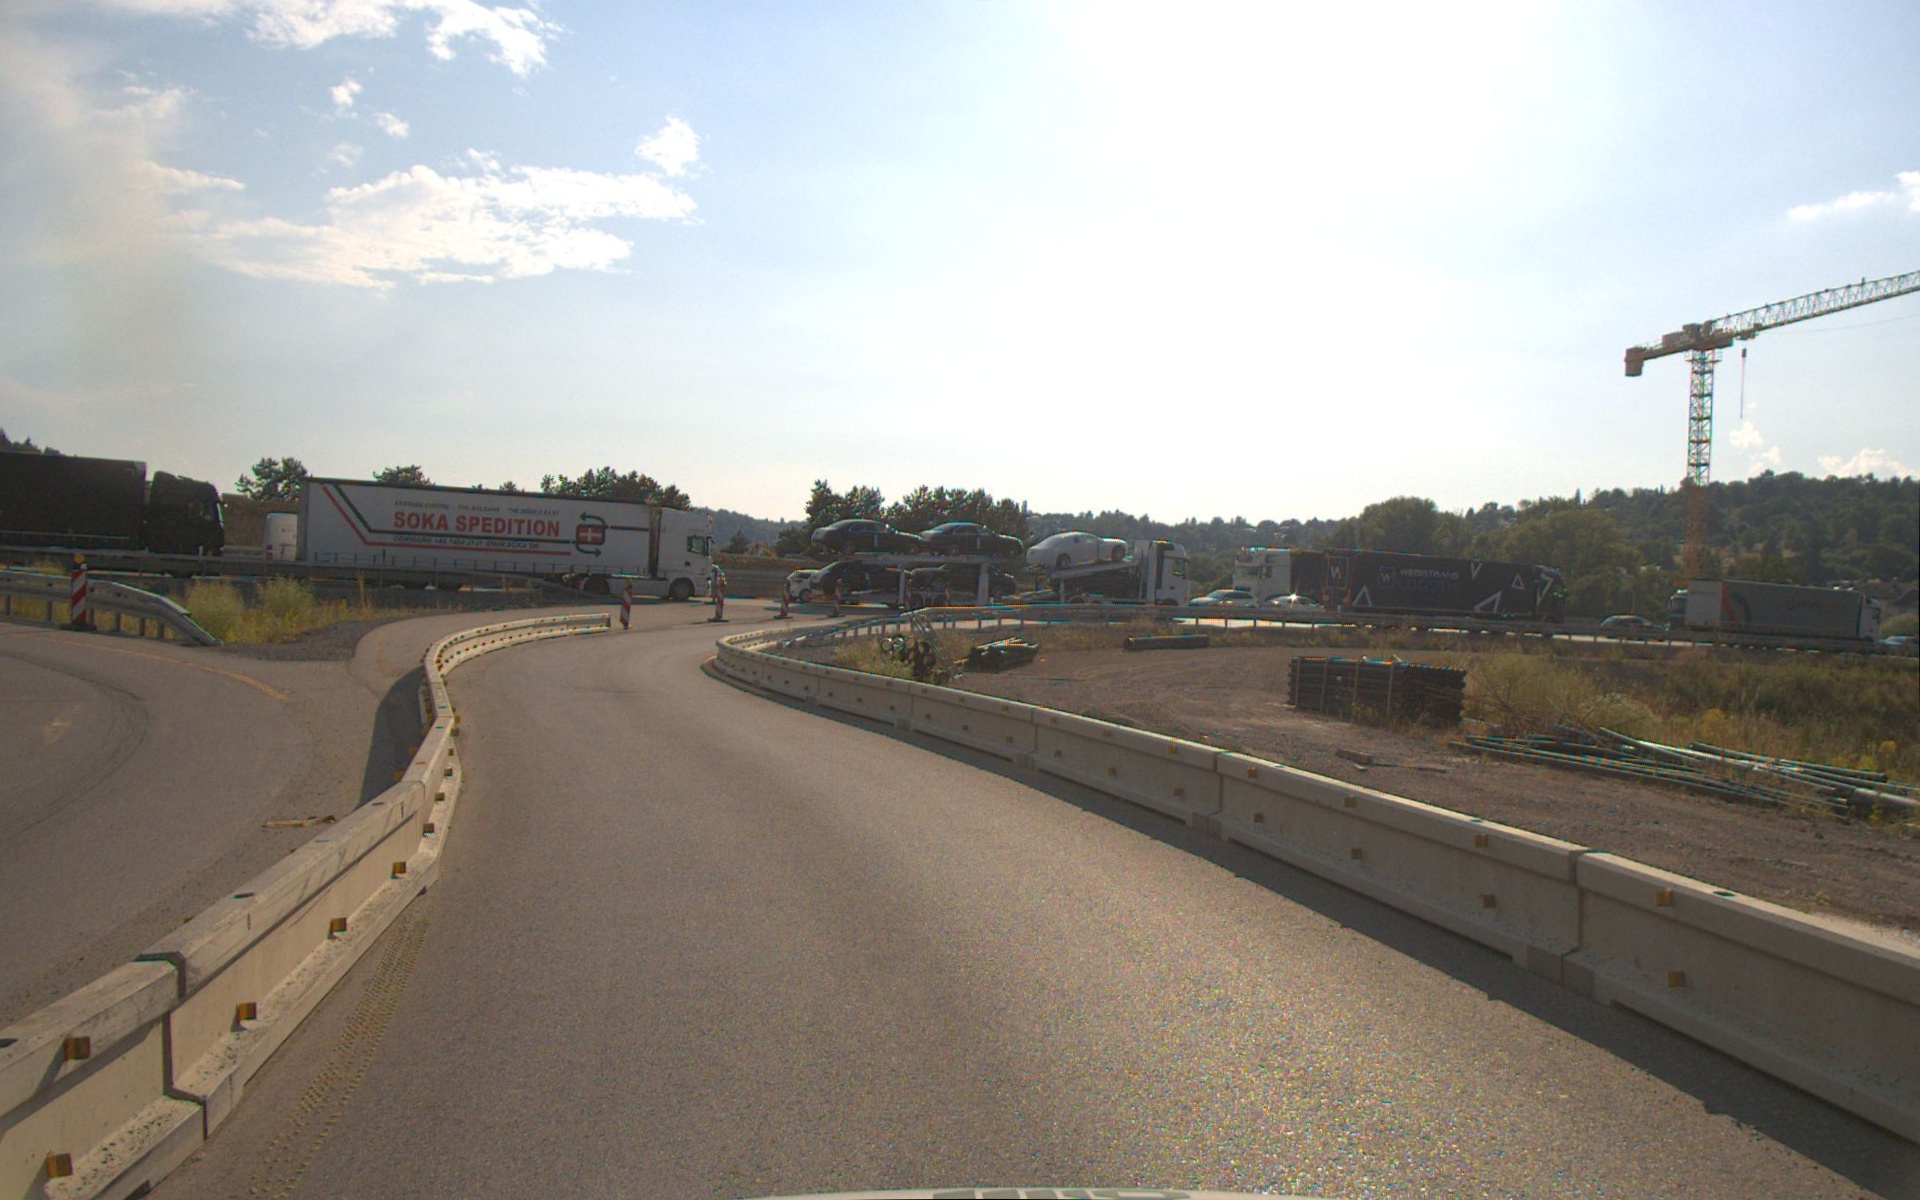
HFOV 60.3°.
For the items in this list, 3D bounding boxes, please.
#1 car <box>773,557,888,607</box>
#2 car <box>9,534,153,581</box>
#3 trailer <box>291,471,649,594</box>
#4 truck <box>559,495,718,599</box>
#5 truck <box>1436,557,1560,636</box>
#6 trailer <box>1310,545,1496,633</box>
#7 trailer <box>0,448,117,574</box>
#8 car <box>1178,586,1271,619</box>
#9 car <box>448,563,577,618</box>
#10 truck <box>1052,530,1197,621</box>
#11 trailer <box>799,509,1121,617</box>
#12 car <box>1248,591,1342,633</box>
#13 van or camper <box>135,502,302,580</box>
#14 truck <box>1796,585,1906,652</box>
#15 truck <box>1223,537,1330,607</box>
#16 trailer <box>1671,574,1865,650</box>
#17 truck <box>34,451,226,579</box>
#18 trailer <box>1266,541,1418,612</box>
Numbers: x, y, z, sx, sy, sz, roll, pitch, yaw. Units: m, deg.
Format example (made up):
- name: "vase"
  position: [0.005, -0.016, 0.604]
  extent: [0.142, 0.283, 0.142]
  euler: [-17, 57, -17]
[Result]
- name: "car"
  position: [-6.073, -0.841, 77.757]
  extent: [4.906, 2.015, 2.018]
  euler: [3, 2, -28]
- name: "car"
  position: [-34.751, -1.688, 65.513]
  extent: [4.906, 1.526, 2.018]
  euler: [3, 2, -28]
- name: "trailer"
  position: [-19.400, -2.590, 66.276]
  extent: [13.438, 3.945, 2.465]
  euler: [3, 0, -30]
- name: "truck"
  position: [-13.528, -2.214, 69.662]
  extent: [5.926, 3.945, 2.465]
  euler: [3, 0, -30]
- name: "truck"
  position: [30.609, -0.175, 94.101]
  extent: [6.526, 4.066, 2.869]
  euler: [3, 0, -28]
- name: "trailer"
  position: [24.381, -0.564, 90.759]
  extent: [10.634, 4.163, 2.942]
  euler: [3, -1, -28]
- name: "trailer"
  position: [-36.421, -3.377, 56.421]
  extent: [13.439, 4.132, 2.464]
  euler: [3, 0, -30]
- name: "car"
  position: [14.957, 0.128, 93.480]
  extent: [4.906, 1.526, 2.018]
  euler: [3, 2, -28]
- name: "car"
  position: [-19.029, -0.407, 70.331]
  extent: [4.906, 2.015, 2.018]
  euler: [3, 2, -28]
- name: "truck"
  position: [8.165, -1.191, 81.735]
  extent: [6.530, 4.066, 2.831]
  euler: [3, 0, -29]
- name: "trailer"
  position: [0.271, -1.615, 77.280]
  extent: [15.521, 4.066, 2.839]
  euler: [3, 0, -29]
- name: "car"
  position: [18.629, 0.664, 91.907]
  extent: [4.906, 2.015, 2.018]
  euler: [3, 2, -28]
- name: "van or camper"
  position: [-29.168, -2.297, 65.175]
  extent: [5.814, 2.665, 1.983]
  euler: [3, 1, -27]
- name: "truck"
  position: [59.364, 1.240, 110.137]
  extent: [6.530, 4.066, 3.323]
  euler: [3, 0, -29]
- name: "truck"
  position: [19.052, -1.654, 99.485]
  extent: [5.605, 3.792, 2.978]
  euler: [3, -1, -29]
- name: "trailer"
  position: [51.792, 0.796, 105.803]
  extent: [14.535, 4.066, 3.364]
  euler: [3, 0, -29]
- name: "truck"
  position: [-30.123, -3.009, 60.096]
  extent: [5.931, 4.130, 2.463]
  euler: [3, 0, -31]
- name: "trailer"
  position: [23.564, -1.386, 101.942]
  extent: [9.429, 3.817, 2.989]
  euler: [3, -1, -28]
